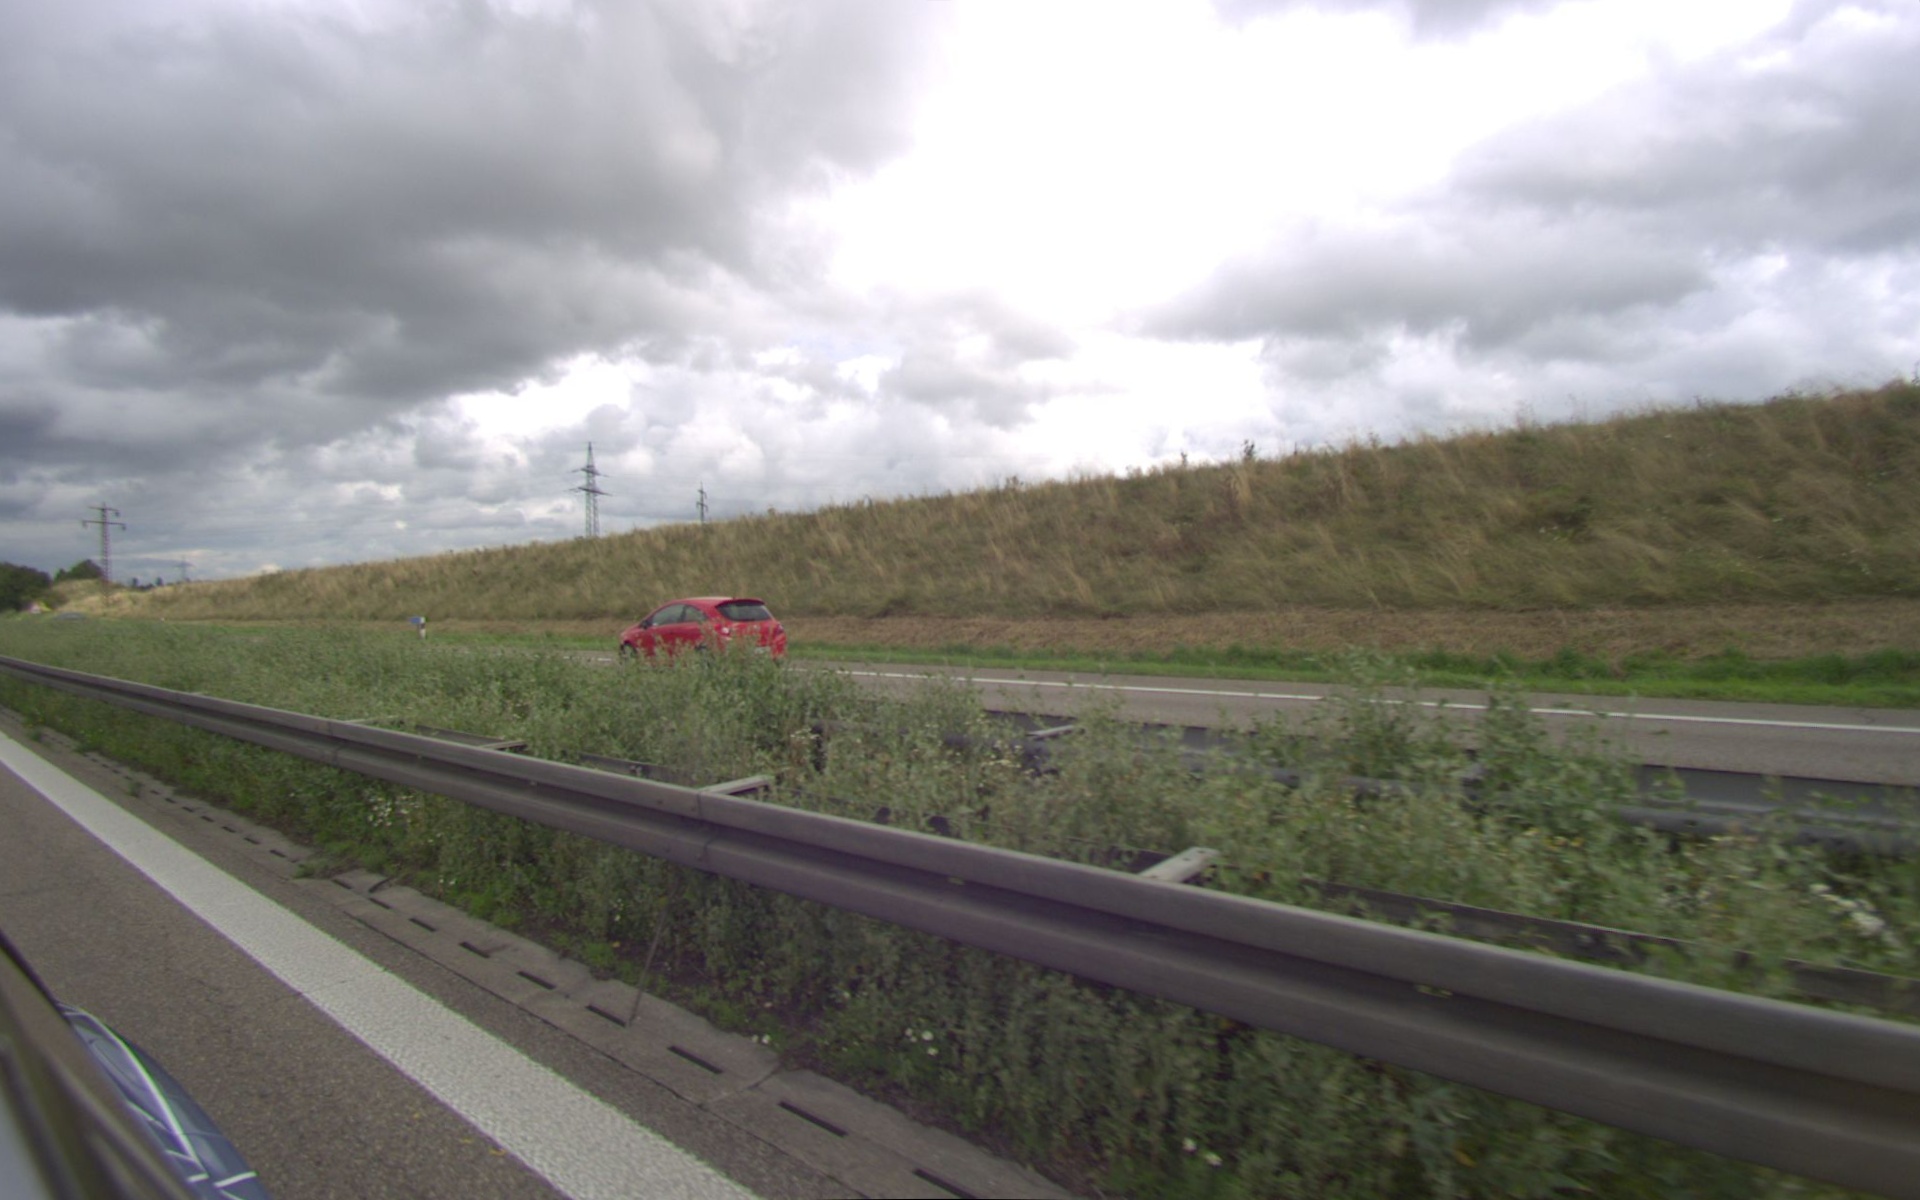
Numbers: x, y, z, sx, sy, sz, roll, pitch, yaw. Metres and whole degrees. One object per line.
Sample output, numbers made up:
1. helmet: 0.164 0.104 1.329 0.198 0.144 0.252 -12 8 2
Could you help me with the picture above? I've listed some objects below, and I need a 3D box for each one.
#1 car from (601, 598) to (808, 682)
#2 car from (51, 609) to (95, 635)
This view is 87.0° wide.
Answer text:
1. car: -4.985 0.710 19.450 4.340 1.414 1.706 -1 0 42
2. car: -61.564 1.485 70.227 3.999 1.715 1.797 -1 0 42
